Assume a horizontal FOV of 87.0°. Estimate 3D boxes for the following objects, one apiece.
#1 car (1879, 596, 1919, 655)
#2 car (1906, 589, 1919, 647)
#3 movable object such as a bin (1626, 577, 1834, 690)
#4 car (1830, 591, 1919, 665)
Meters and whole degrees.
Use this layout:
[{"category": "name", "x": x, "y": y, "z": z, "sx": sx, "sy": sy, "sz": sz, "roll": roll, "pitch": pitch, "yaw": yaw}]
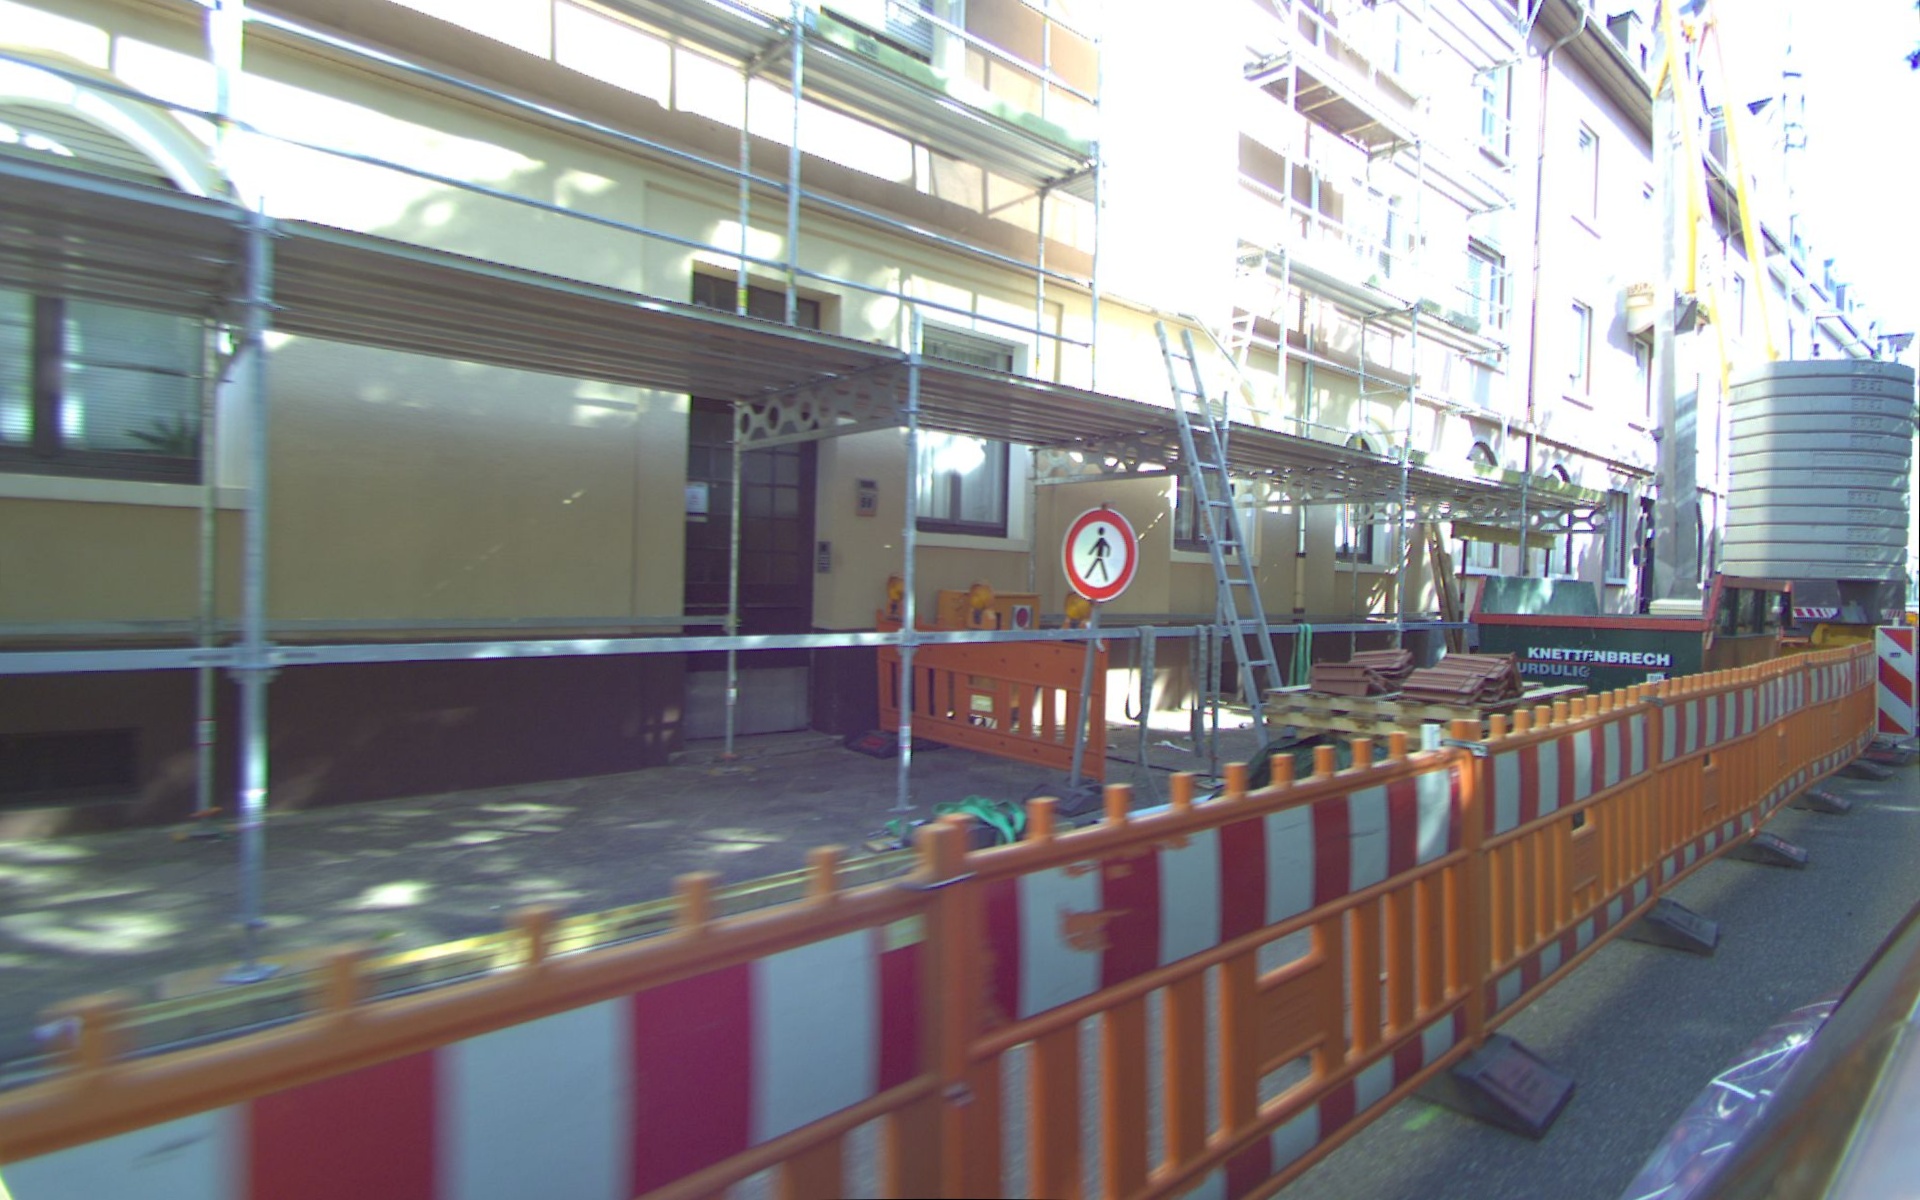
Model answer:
[{"category": "car", "x": 25.382, "y": 0.650, "z": 26.547, "sx": 1.668, "sy": 1.445, "sz": 3.908, "roll": 3, "pitch": 2, "yaw": 45}, {"category": "car", "x": 29.060, "y": 0.549, "z": 29.598, "sx": 4.200, "sy": 1.619, "sz": 1.669, "roll": 0, "pitch": 2, "yaw": -42}, {"category": "movable object such as a bin", "x": 11.559, "y": 0.462, "z": 15.305, "sx": 1.595, "sy": 1.545, "sz": 1.880, "roll": 2, "pitch": 1, "yaw": -6}, {"category": "car", "x": 21.098, "y": 0.597, "z": 22.777, "sx": 4.171, "sy": 1.482, "sz": 1.764, "roll": 0, "pitch": 2, "yaw": -42}]
